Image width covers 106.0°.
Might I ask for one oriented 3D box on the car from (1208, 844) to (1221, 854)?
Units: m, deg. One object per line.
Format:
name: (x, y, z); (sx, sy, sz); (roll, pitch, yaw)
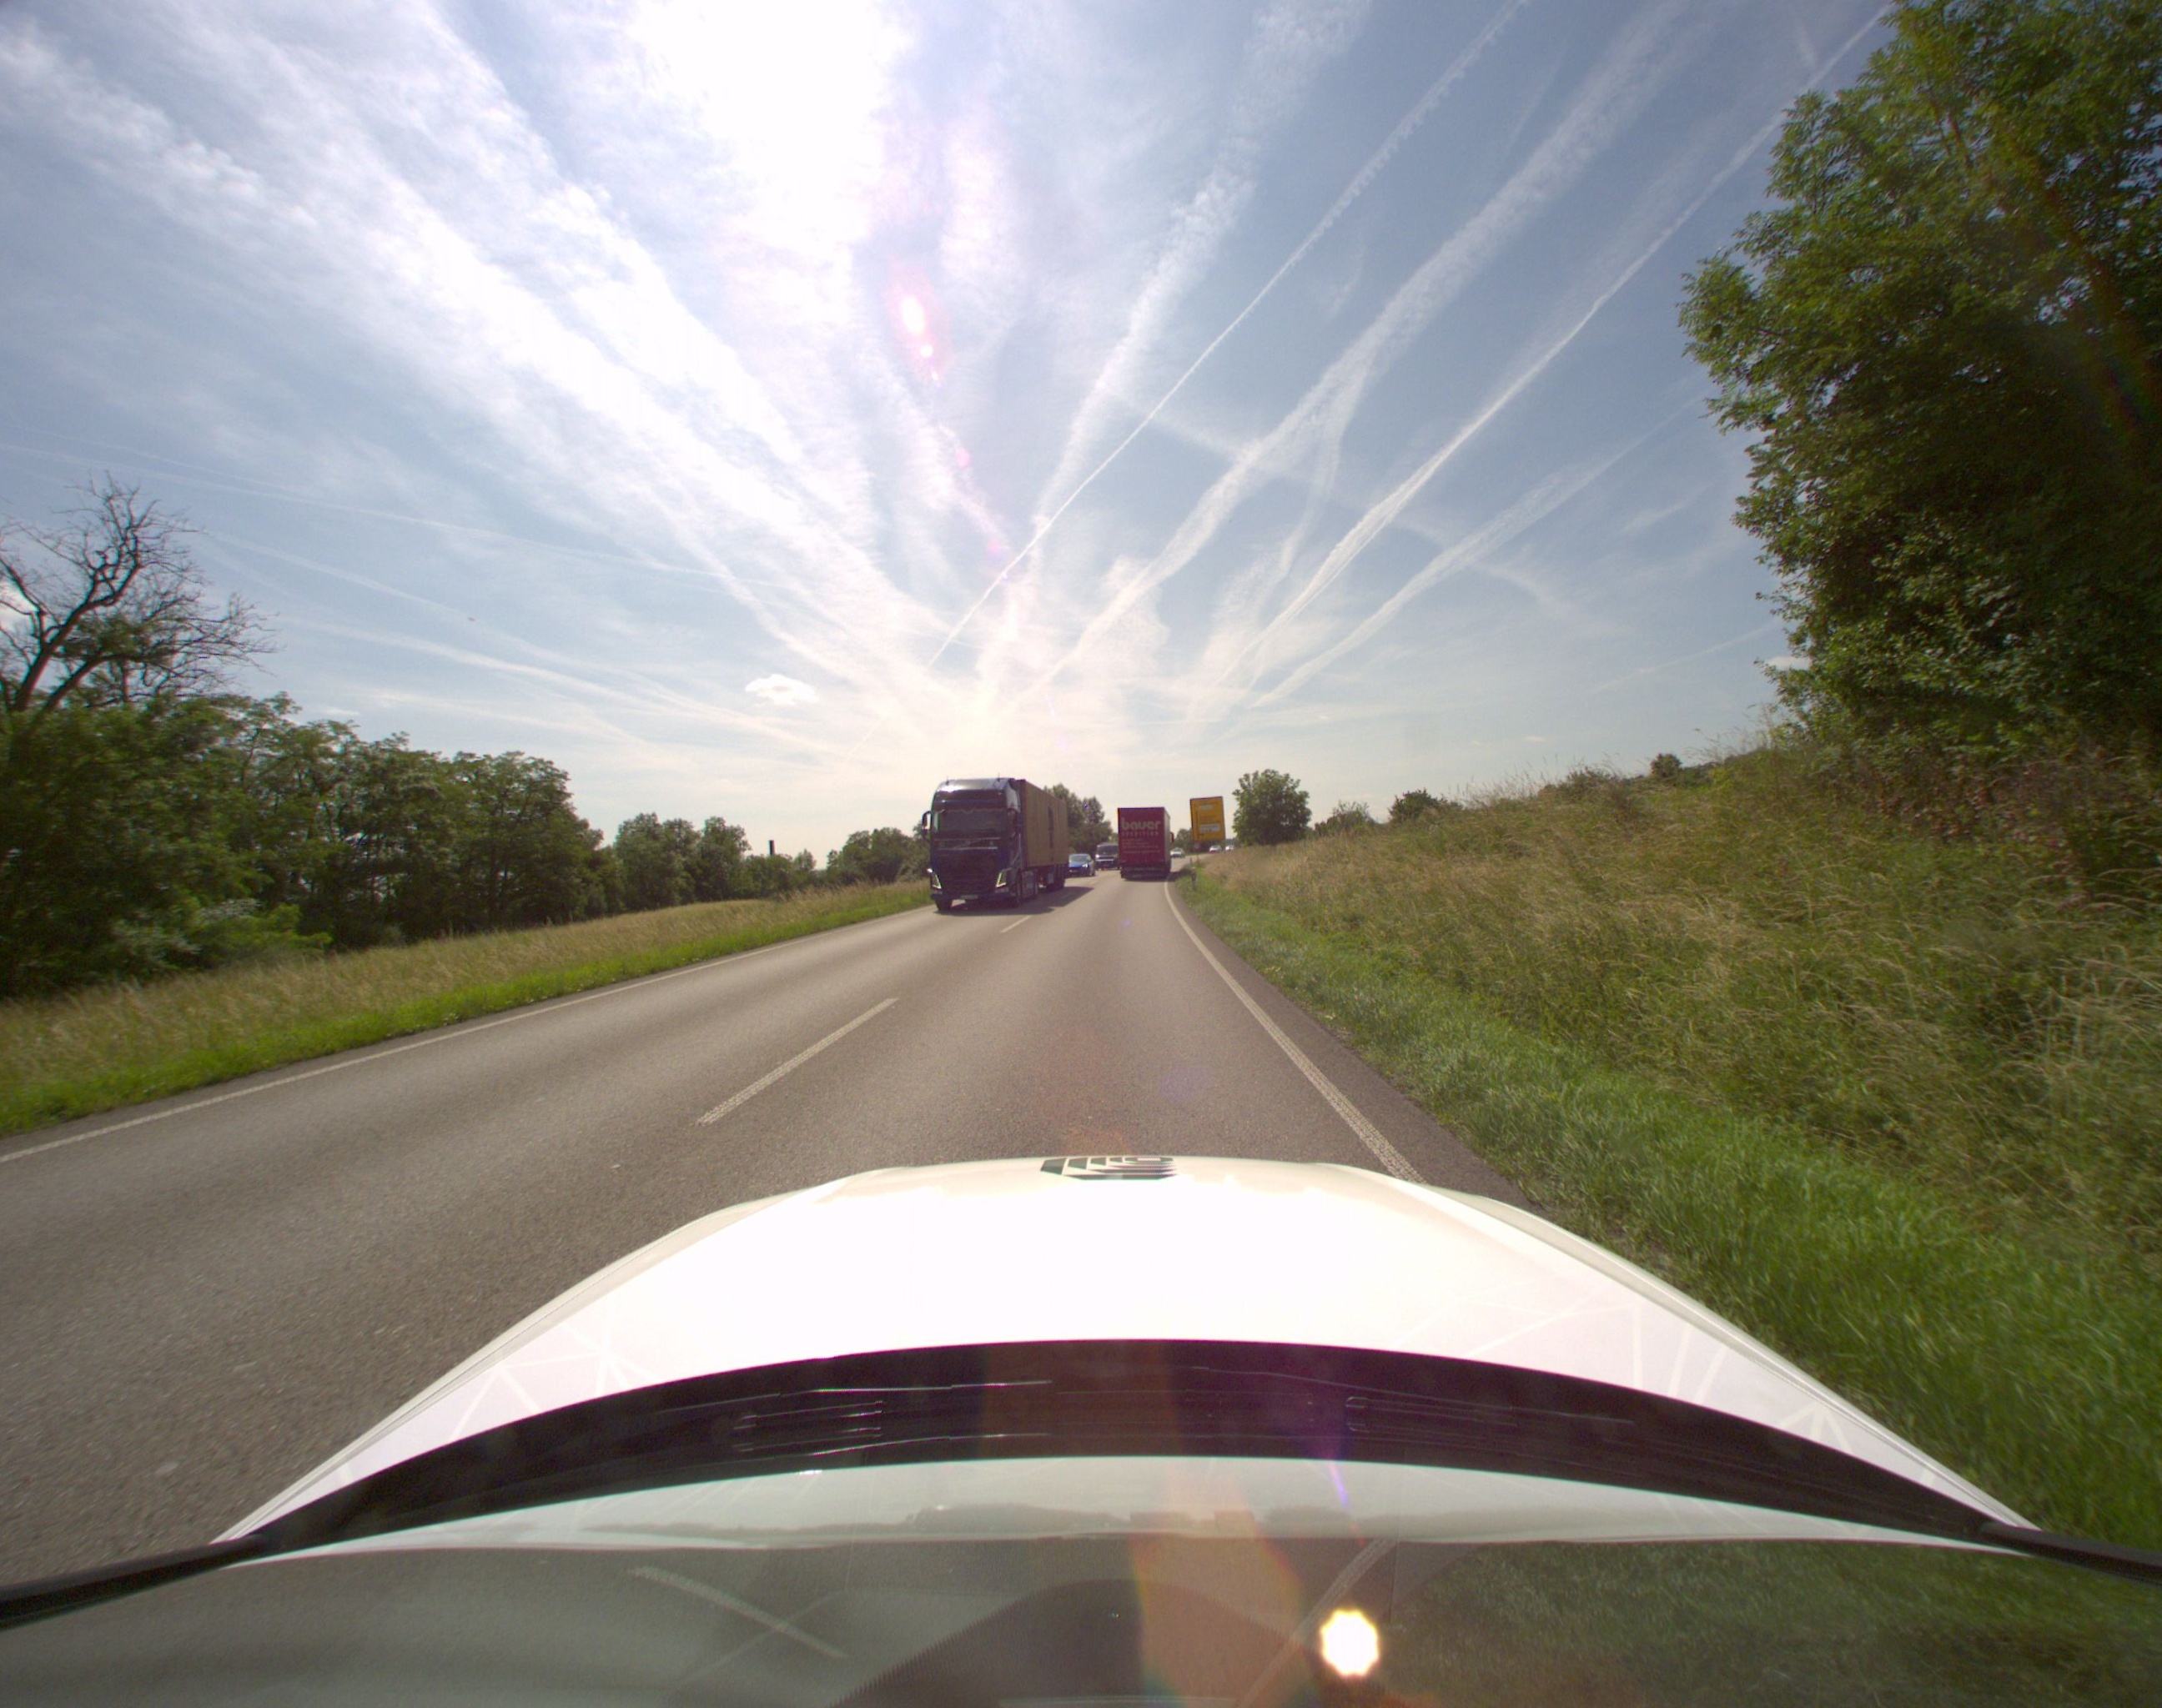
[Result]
car: (25.924, -0.990, 158.059); (1.818, 1.616, 4.383); (-5, 0, 18)

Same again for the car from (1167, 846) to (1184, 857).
car: (14.245, -0.395, 122.307); (1.776, 1.522, 4.179); (-5, 0, 17)

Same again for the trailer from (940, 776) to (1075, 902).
trailer: (-2.509, -0.536, 33.533); (2.982, 4.043, 12.937); (-3, 0, 5)

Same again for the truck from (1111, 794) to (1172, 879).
truck: (3.892, -0.913, 49.516); (3.096, 4.506, 12.190); (0, 0, 7)

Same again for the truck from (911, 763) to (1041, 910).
truck: (-3.135, -0.502, 26.080); (2.793, 4.067, 5.993); (-2, 0, 5)

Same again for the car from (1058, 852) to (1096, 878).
car: (-0.219, 0.689, 53.425); (1.853, 1.485, 4.368); (-5, 0, 7)

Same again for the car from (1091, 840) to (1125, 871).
car: (2.300, 0.106, 68.698); (2.159, 2.303, 4.917); (-5, 0, 8)
